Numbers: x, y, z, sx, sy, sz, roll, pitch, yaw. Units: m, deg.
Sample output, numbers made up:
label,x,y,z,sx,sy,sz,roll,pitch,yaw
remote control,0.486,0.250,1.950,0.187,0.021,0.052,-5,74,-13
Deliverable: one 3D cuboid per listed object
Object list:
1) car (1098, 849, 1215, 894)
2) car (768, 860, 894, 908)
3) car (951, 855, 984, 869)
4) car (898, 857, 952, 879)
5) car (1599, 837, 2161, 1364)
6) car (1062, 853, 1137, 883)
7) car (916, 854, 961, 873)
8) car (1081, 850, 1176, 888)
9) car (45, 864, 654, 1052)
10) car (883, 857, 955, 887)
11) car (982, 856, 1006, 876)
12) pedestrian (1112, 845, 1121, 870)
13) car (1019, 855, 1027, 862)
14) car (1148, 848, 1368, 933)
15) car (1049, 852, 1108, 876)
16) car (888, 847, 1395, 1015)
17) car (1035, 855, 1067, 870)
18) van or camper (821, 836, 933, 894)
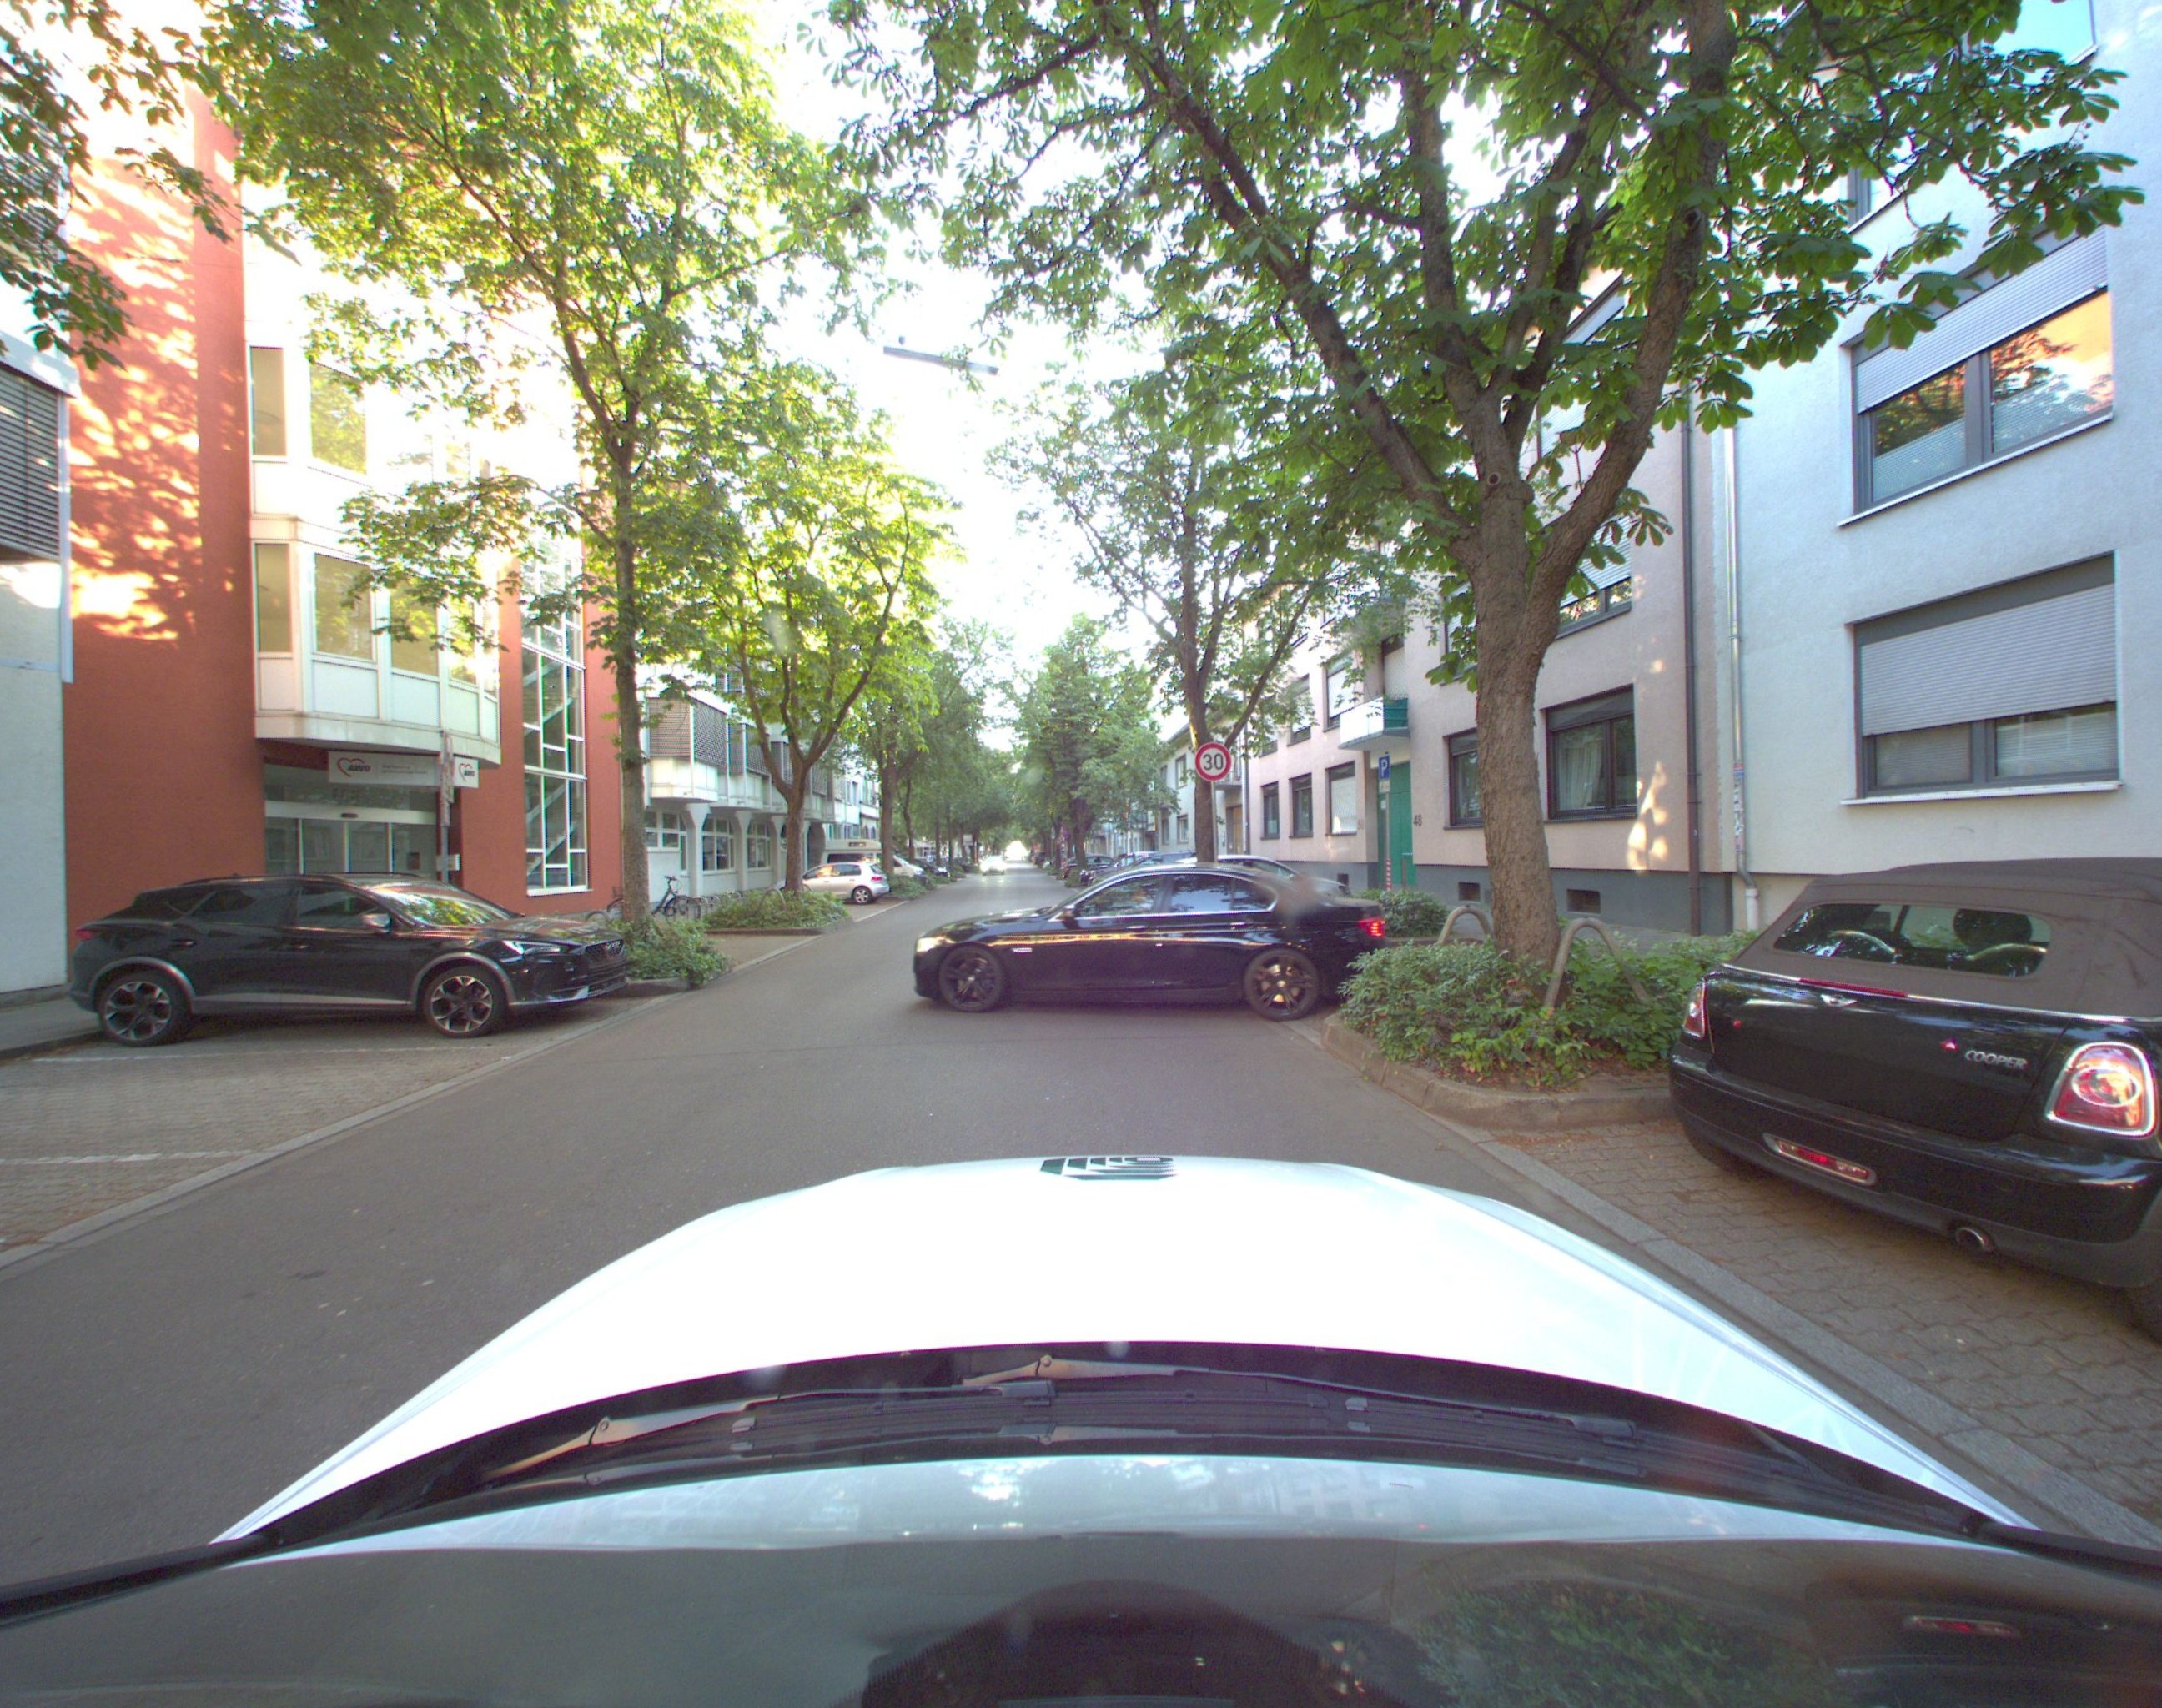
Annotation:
label,x,y,z,sx,sy,sz,roll,pitch,yaw
car,2.701,0.631,29.749,3.963,1.476,1.781,-2,0,-7
car,-8.852,1.049,29.084,3.960,1.517,1.783,-2,0,-4
car,-14.269,1.030,102.821,3.959,1.619,1.783,-2,0,-4
car,-12.404,1.072,64.967,3.959,1.619,1.783,-2,0,-4
car,4.343,0.631,3.269,3.608,1.363,1.660,-2,0,-8
car,1.012,0.743,45.084,3.962,1.527,1.782,-2,0,-5
car,-13.396,0.869,76.624,3.959,1.619,1.783,-2,0,-4
car,2.071,0.667,36.242,3.962,1.527,1.782,-2,0,-5
car,-7.027,0.930,8.272,4.347,1.517,1.782,-2,0,-5
car,-9.600,1.045,48.421,3.960,1.619,1.783,-2,0,-4
car,-7.267,0.993,68.542,1.775,1.562,4.162,-1,0,-4
pedestrian,2.893,0.283,66.429,0.587,2.013,0.669,-1,0,-3
car,-14.755,1.136,207.941,1.819,1.530,3.995,-2,0,-4
car,3.426,0.674,16.118,3.904,1.476,1.661,-2,0,-7
car,-0.181,0.661,56.988,3.963,1.527,1.781,-2,0,-6
car,0.609,0.735,8.498,4.715,1.480,1.805,-1,0,10
car,-3.734,1.060,101.053,3.959,1.684,1.783,-2,0,-4
van or camper,-9.298,0.485,37.417,4.656,2.478,1.997,-1,0,-5
